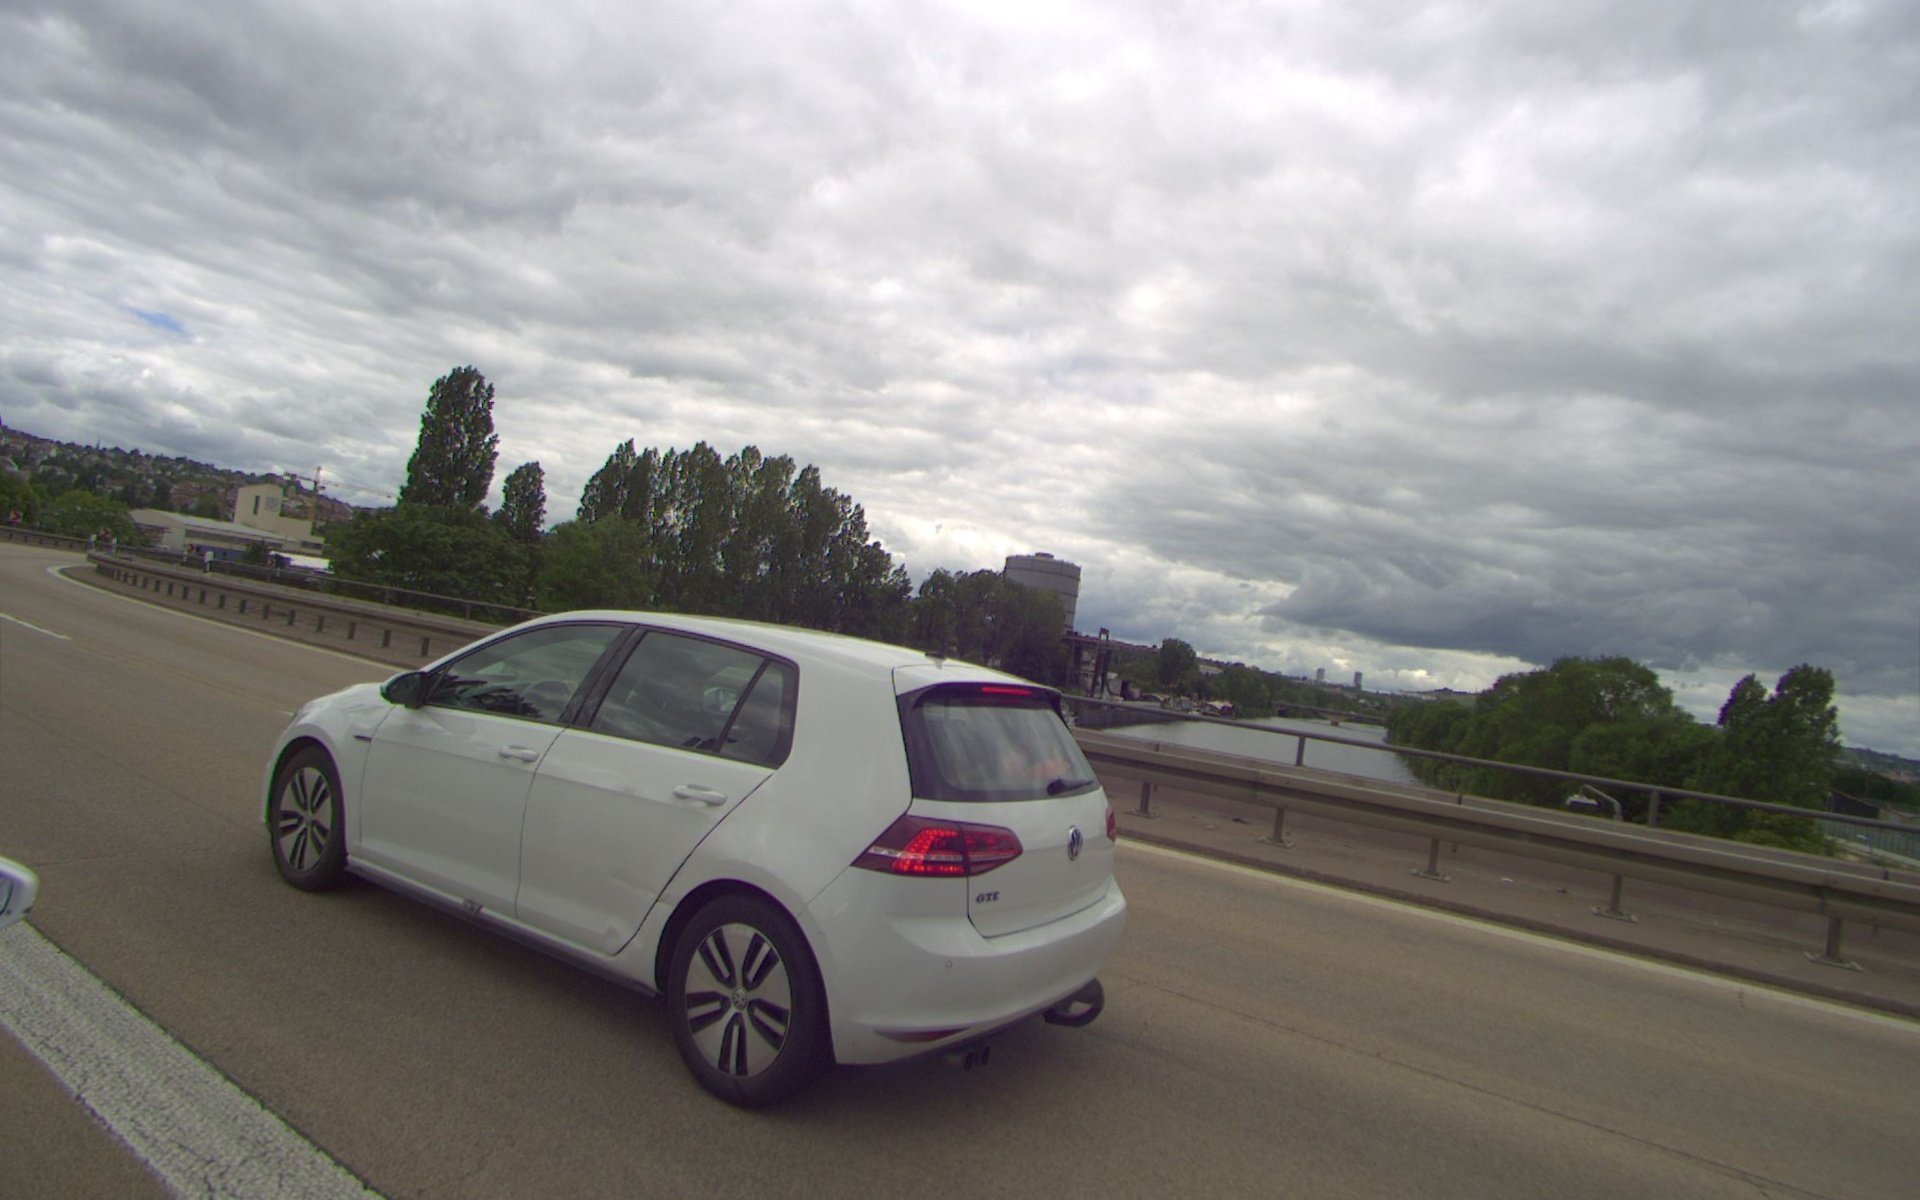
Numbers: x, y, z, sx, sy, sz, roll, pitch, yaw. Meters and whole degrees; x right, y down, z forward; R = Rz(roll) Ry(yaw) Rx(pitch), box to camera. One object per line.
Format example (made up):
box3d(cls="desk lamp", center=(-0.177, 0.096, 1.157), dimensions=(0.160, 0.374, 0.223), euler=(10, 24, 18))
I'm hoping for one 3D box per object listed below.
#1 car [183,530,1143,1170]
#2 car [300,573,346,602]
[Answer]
box3d(cls="car", center=(-1.461, 0.674, 4.501), dimensions=(4.004, 1.469, 1.757), euler=(7, 0, 31))
box3d(cls="car", center=(-47.402, -0.960, 74.992), dimensions=(1.904, 1.806, 4.094), euler=(8, -1, -21))
